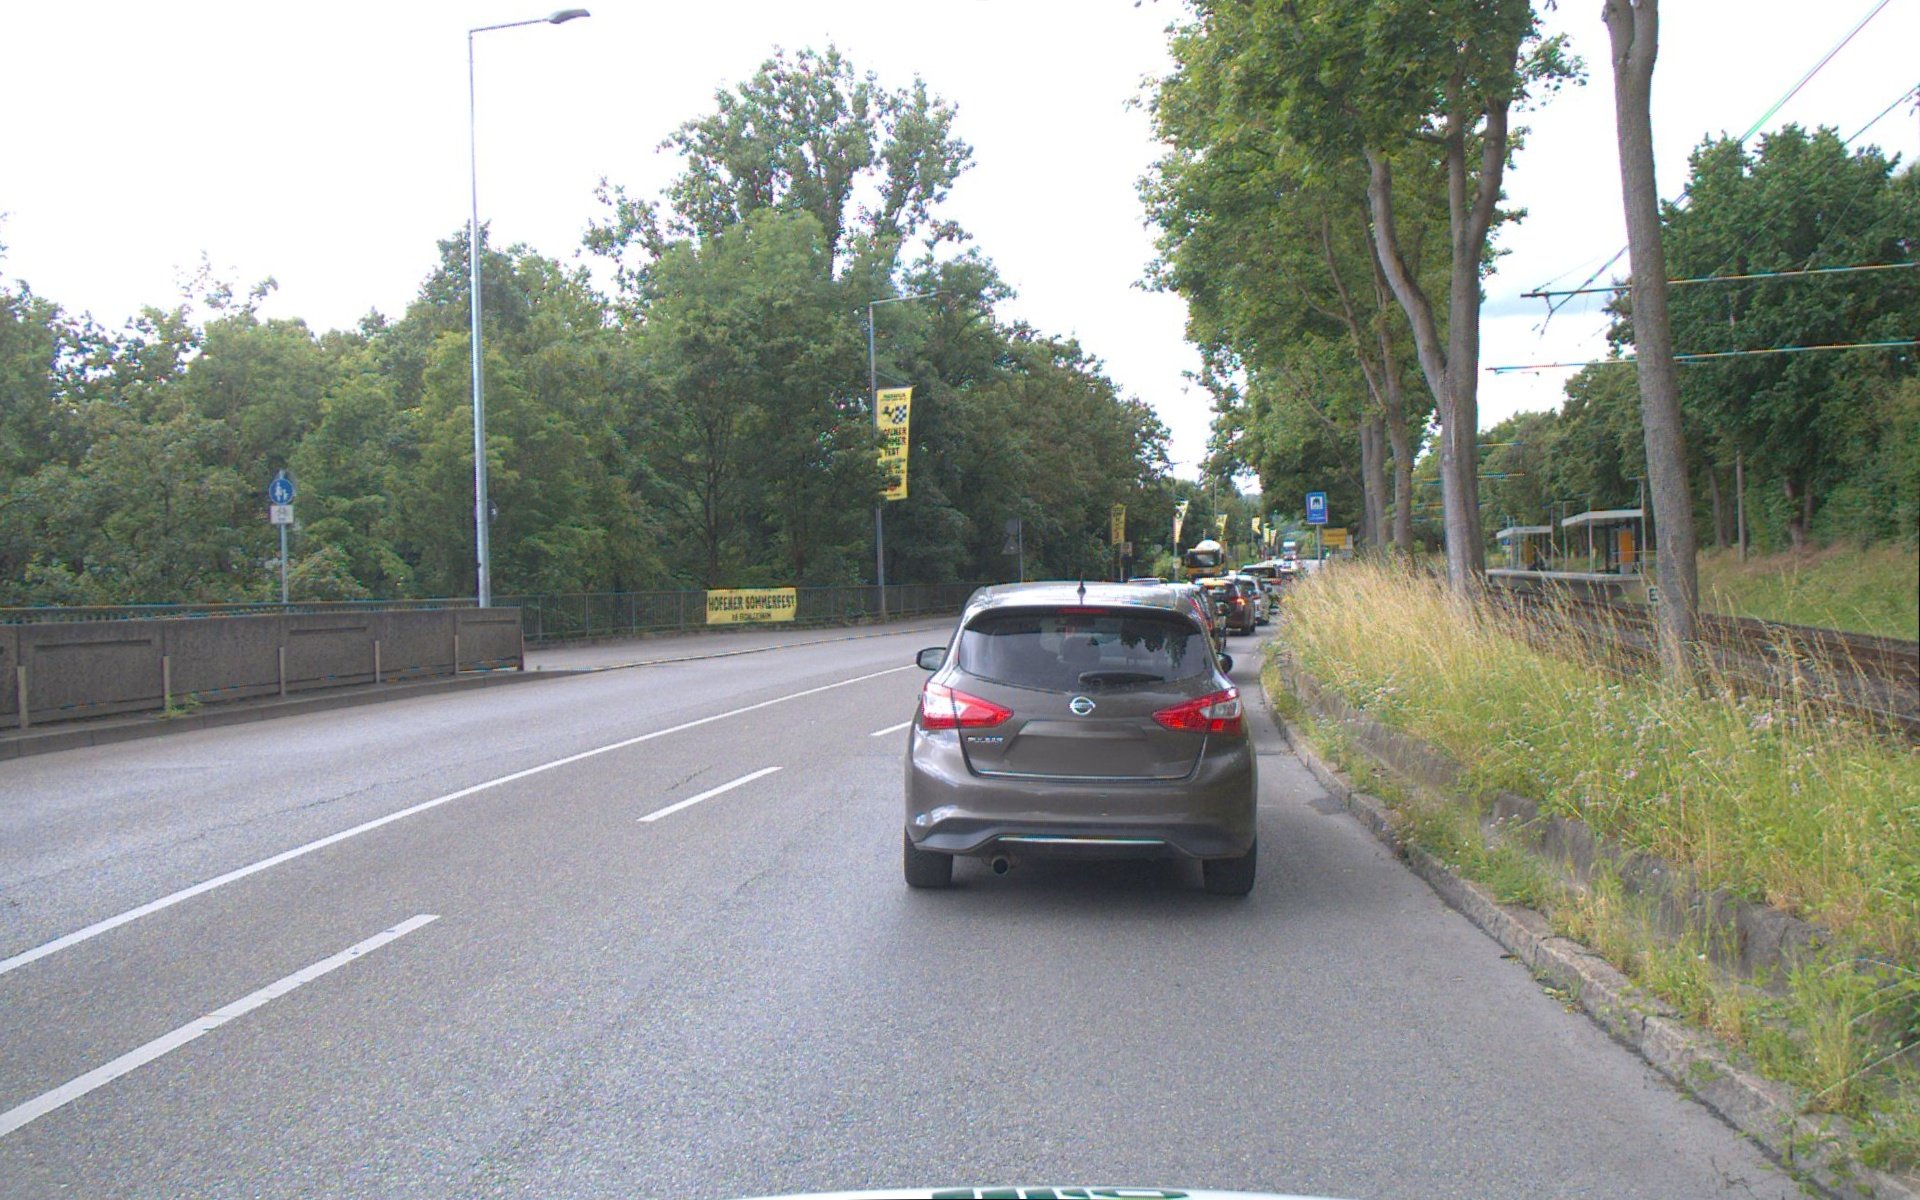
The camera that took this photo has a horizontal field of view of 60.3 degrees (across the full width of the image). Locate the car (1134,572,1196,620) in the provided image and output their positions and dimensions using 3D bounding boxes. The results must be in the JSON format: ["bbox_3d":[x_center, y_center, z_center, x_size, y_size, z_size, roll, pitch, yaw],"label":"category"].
[{"bbox_3d":[6.970,-0.108,55.888,1.812,1.512,4.424,-1,-1,10],"label":"car"}]

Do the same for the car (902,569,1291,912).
[{"bbox_3d":[0.769,0.644,9.462,1.737,1.520,4.002,0,0,5],"label":"car"}]

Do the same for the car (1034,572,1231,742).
[{"bbox_3d":[1.830,0.560,17.651,1.852,1.601,4.002,0,-1,6],"label":"car"}]

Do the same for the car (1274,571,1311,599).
[{"bbox_3d":[18.237,-0.838,90.507,1.850,1.470,3.810,-1,0,13],"label":"car"}]

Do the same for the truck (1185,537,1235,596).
[{"bbox_3d":[17.803,-2.323,117.283,2.598,4.007,10.119,0,1,14],"label":"truck"}]

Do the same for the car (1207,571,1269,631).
[{"bbox_3d":[8.689,0.066,51.498,1.681,1.723,4.003,-2,-2,12],"label":"car"}]

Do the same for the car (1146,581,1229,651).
[{"bbox_3d":[4.934,0.314,35.582,1.468,1.388,3.590,-2,0,12],"label":"car"}]

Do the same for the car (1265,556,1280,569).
[{"bbox_3d":[40.820,-4.852,215.977,1.715,1.445,4.003,-2,-2,12],"label":"car"}]

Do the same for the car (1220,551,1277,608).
[{"bbox_3d":[10.829,-0.763,61.820,1.850,2.049,4.004,-1,0,13],"label":"car"}]

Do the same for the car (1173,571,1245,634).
[{"bbox_3d":[6.554,0.061,43.413,1.766,1.567,4.003,1,0,9],"label":"car"}]

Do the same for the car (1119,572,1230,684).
[{"bbox_3d":[3.398,0.406,25.818,1.544,1.565,4.003,-2,0,9],"label":"car"}]
